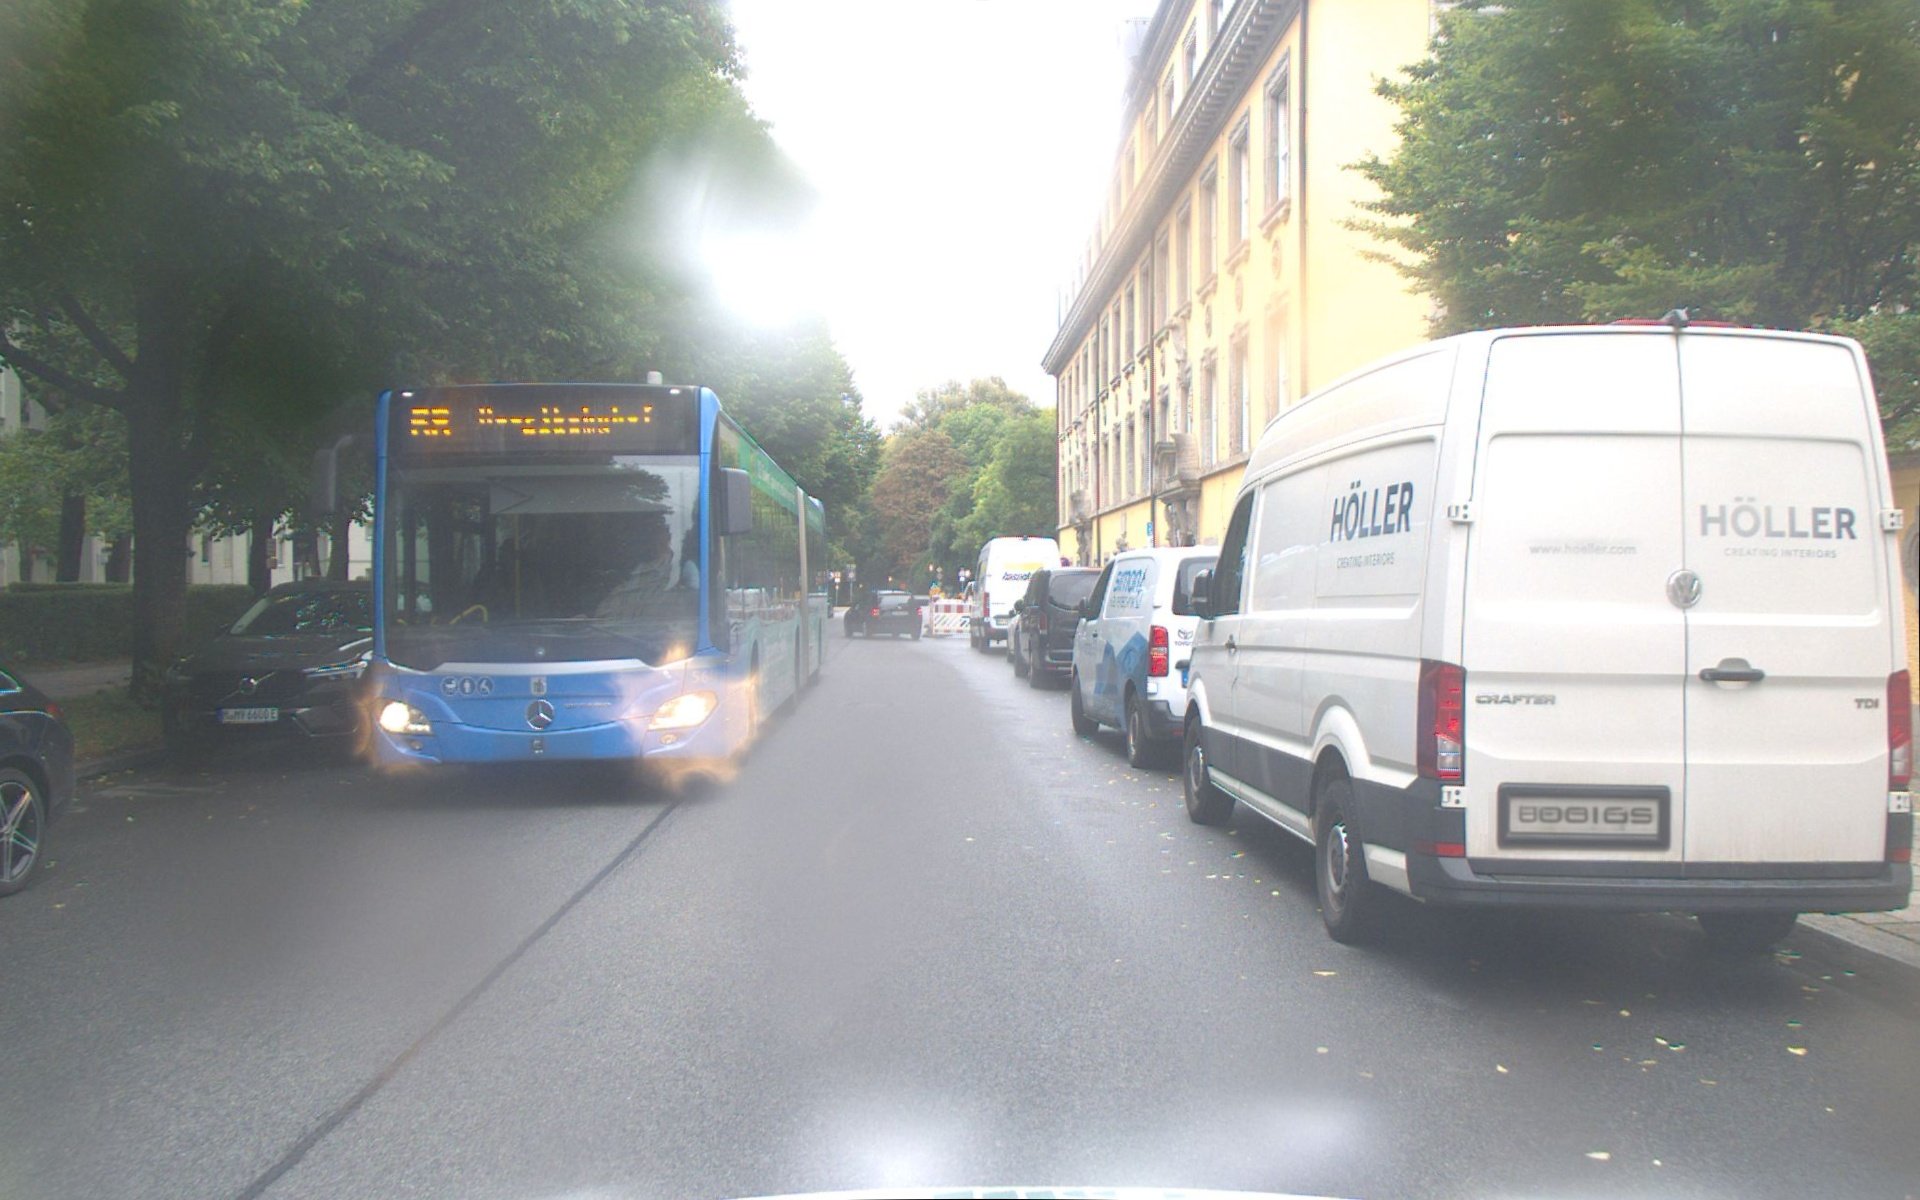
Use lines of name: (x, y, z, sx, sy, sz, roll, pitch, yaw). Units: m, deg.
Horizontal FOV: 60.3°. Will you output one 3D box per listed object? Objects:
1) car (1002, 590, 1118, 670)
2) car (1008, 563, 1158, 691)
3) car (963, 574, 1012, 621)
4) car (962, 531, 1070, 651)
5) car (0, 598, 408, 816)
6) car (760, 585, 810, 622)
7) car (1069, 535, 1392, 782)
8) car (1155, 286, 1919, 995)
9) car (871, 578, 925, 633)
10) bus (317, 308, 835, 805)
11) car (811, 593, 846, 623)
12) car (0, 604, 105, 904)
car: (1.943, 0.566, 33.383, 1.833, 1.483, 4.252, 0, 0, -3)
car: (1.916, 0.406, 27.260, 1.833, 1.901, 4.983, 0, 0, -3)
car: (1.079, -0.070, 66.172, 1.705, 1.780, 4.353, 0, -1, -3)
car: (1.288, -0.197, 41.520, 2.014, 2.720, 7.609, 0, 0, -3)
car: (-5.902, 0.755, 13.344, 1.754, 1.479, 3.946, 0, -1, -3)
car: (-6.954, 0.121, 66.192, 1.692, 1.447, 4.249, 0, 0, -2)
car: (2.332, 0.461, 15.761, 1.973, 1.940, 5.161, 1, 0, -3)
car: (2.558, 0.164, 8.834, 2.053, 2.531, 5.736, 0, -1, -3)
car: (-1.874, 0.161, 50.722, 1.545, 1.611, 4.043, 0, 0, -1)
bus: (-3.253, -0.201, 20.234, 2.802, 3.296, 18.415, 0, -1, -2)
car: (-6.821, 0.411, 86.053, 1.545, 1.523, 4.198, 0, 0, -1)
car: (-5.641, 0.801, 6.841, 1.753, 1.463, 4.552, -1, 1, 1)
